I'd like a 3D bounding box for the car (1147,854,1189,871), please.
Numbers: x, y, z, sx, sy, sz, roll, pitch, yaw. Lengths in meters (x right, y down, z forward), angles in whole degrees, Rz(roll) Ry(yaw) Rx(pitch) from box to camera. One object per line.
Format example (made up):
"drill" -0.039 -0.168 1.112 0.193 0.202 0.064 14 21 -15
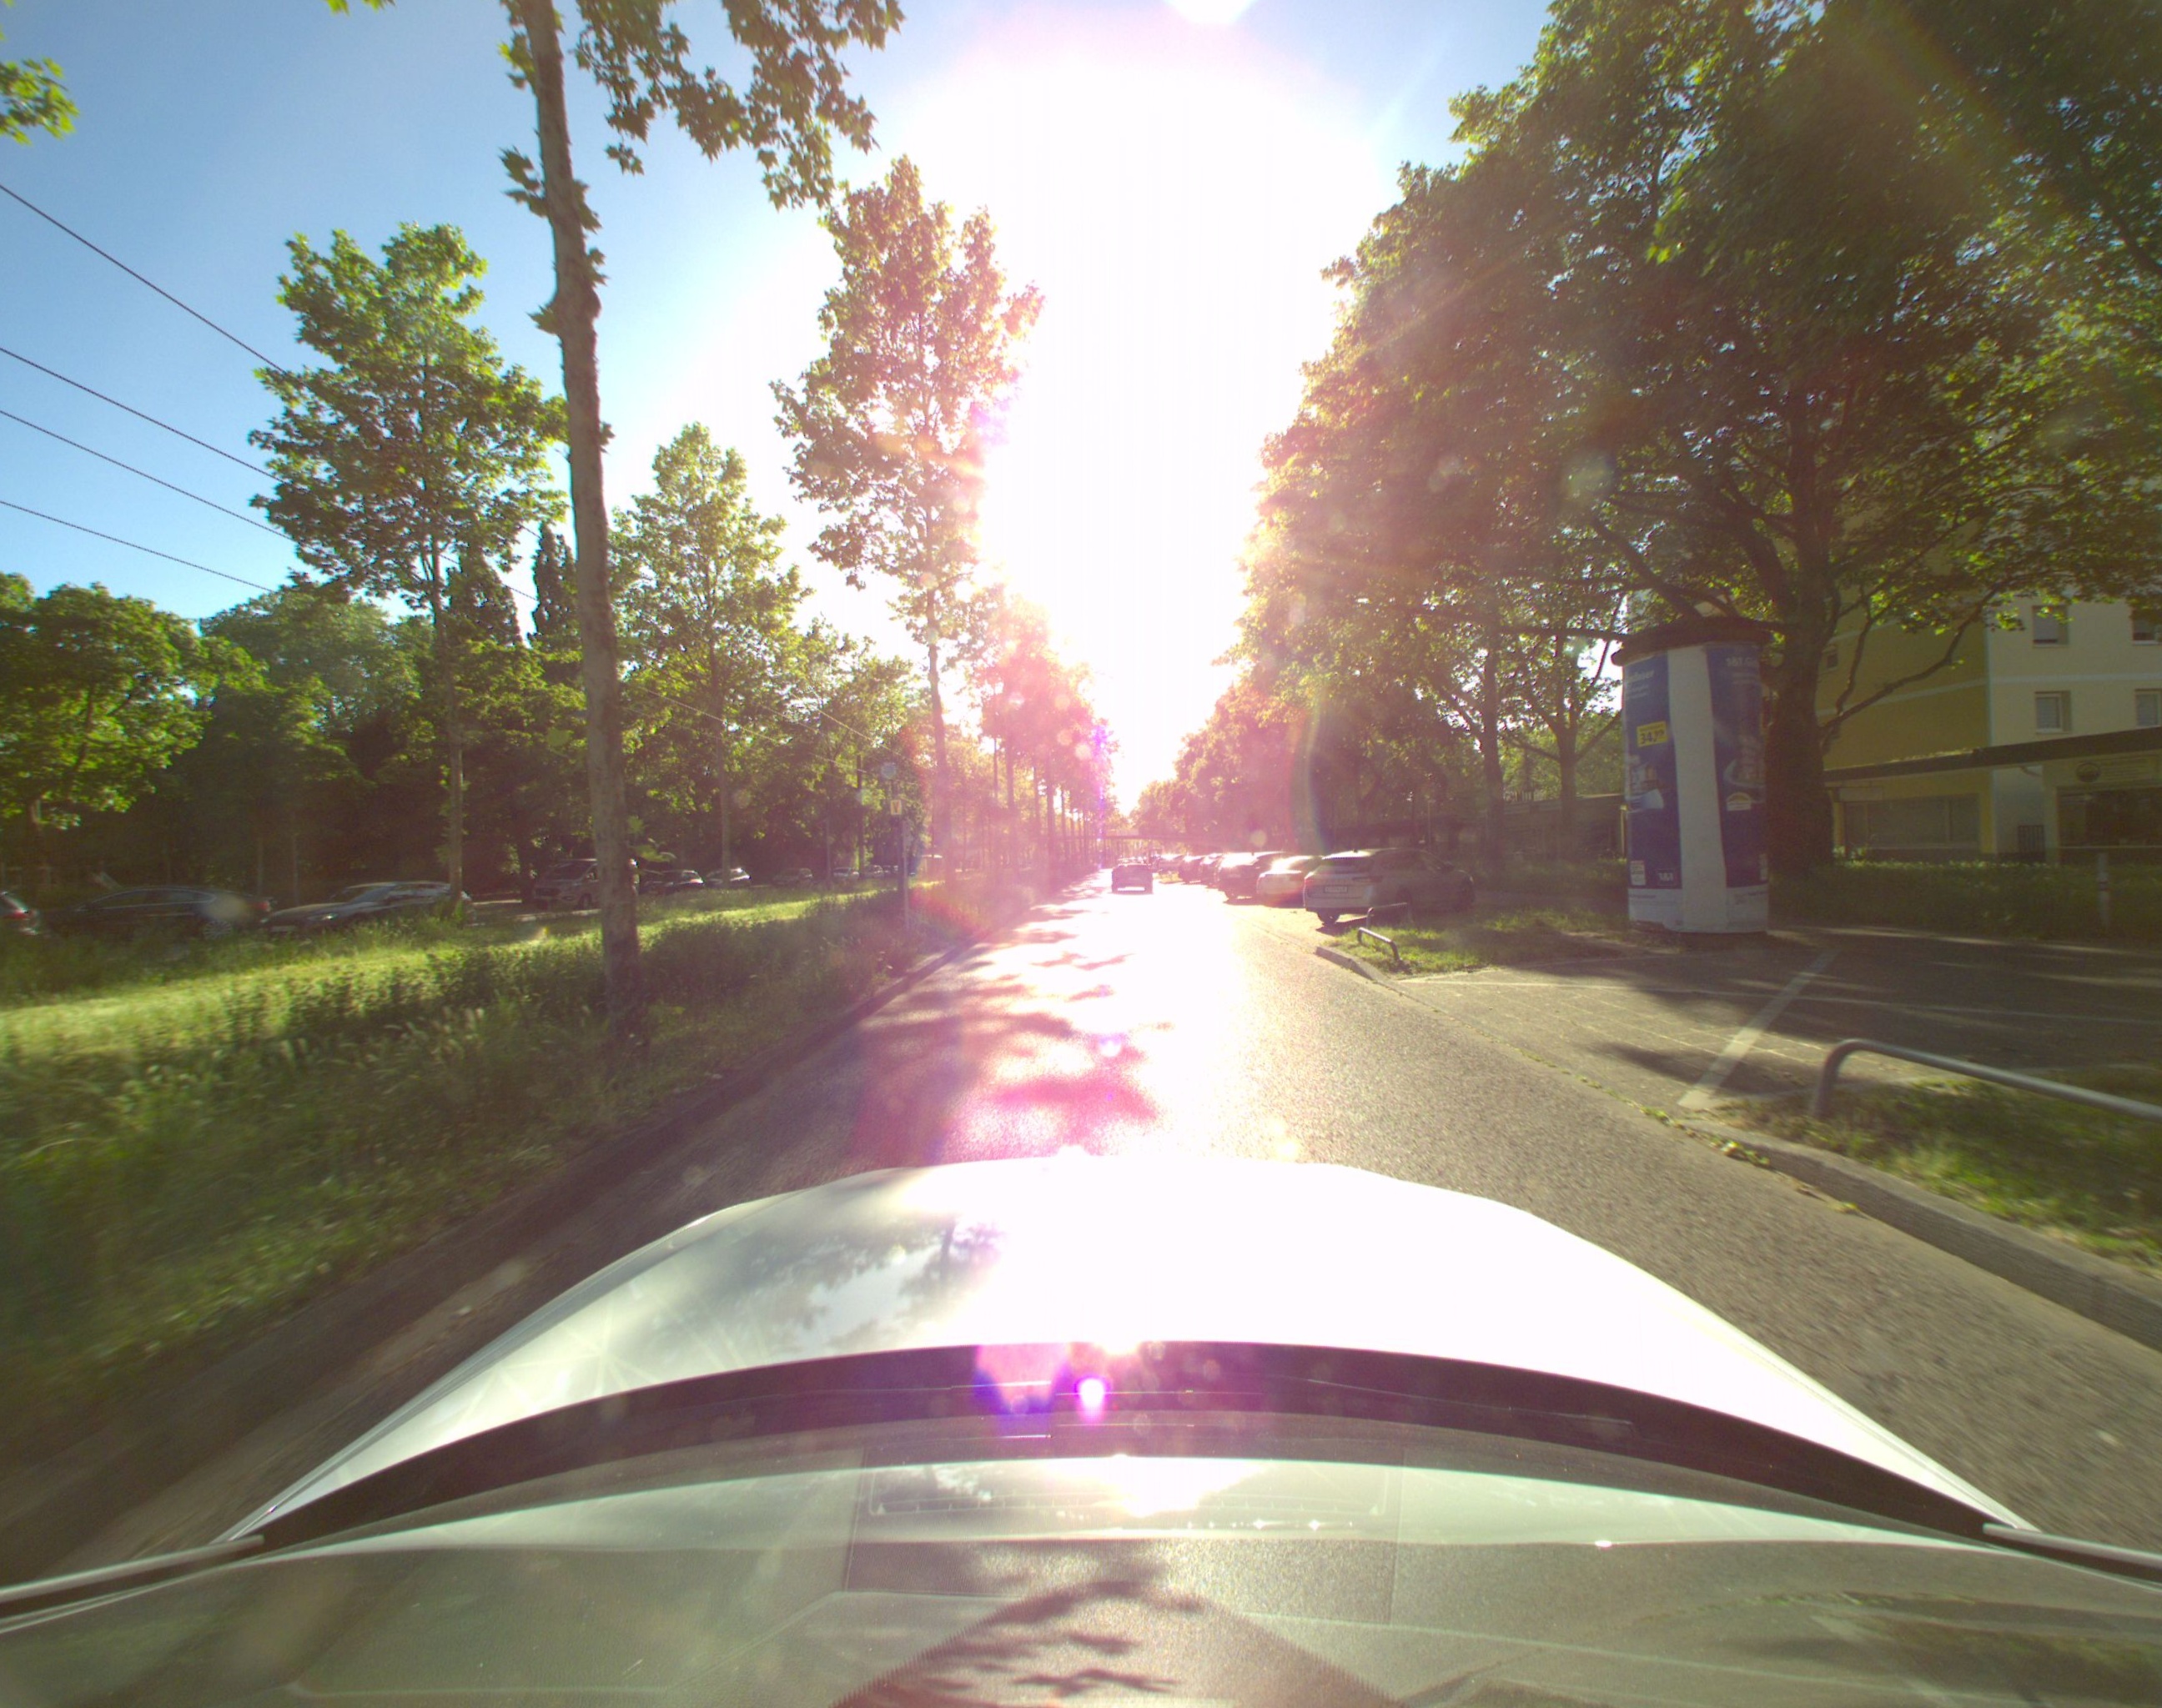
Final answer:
"car" 9.274 0.862 86.692 4.648 1.769 1.835 0 -1 -41

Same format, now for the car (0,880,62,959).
"car" -23.793 1.393 15.954 4.511 1.568 1.774 -2 0 -41

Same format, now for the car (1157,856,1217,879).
"car" 8.035 1.006 61.357 4.648 1.680 1.835 0 -1 -41

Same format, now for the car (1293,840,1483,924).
"car" 6.612 0.518 17.269 4.519 1.443 1.834 -3 0 -42

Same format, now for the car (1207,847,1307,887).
"car" 7.646 0.527 35.155 4.487 1.450 1.896 -2 -2 -43

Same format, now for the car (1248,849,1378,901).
"car" 7.124 0.604 24.769 4.353 1.297 1.671 -3 0 -42

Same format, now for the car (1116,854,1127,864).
"car" 6.518 0.858 131.198 1.842 1.535 3.868 -2 0 2

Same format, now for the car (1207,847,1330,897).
"car" 6.405 0.582 27.552 4.353 1.424 1.834 -3 0 -42

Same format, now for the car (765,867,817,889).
"car" -20.354 1.653 57.428 1.985 1.453 4.004 1 0 4

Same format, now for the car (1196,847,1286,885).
"car" 7.718 0.542 39.002 4.651 1.570 1.834 -3 0 -43

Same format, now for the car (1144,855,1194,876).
"car" 7.793 1.009 72.036 1.833 1.680 4.638 -5 -2 44

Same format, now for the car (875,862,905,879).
"car" -19.013 1.621 81.138 1.779 1.590 4.172 1 0 4

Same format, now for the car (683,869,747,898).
"car" -20.887 1.658 46.631 1.864 1.453 3.578 1 0 4

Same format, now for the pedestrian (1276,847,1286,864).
"pedestrian" 24.334 0.214 99.114 0.826 2.014 0.742 -1 -1 -39

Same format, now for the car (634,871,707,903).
"car" -21.035 1.661 41.880 1.638 1.453 3.667 1 0 4

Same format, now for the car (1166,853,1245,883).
"car" 7.041 0.771 45.870 4.651 1.459 1.955 -2 -1 -44

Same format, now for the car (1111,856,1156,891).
"car" 2.349 0.831 36.747 1.914 1.411 4.003 -1 0 3

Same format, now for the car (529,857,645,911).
"car" -20.860 1.194 34.689 1.638 2.093 4.919 1 0 4

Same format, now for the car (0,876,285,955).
"car" -23.101 1.440 20.323 4.511 1.568 1.774 -2 0 -41

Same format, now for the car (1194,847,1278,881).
"car" 8.172 0.506 42.798 4.650 1.570 1.834 -2 -1 -42

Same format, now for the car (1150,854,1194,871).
"car" 9.328 0.826 83.222 4.648 1.680 1.835 0 -1 -41

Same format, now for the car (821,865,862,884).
"car" -19.917 1.653 67.874 1.985 1.453 4.004 1 0 4

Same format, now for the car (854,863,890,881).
"car" -19.268 1.641 75.117 1.985 1.590 4.172 1 0 4
